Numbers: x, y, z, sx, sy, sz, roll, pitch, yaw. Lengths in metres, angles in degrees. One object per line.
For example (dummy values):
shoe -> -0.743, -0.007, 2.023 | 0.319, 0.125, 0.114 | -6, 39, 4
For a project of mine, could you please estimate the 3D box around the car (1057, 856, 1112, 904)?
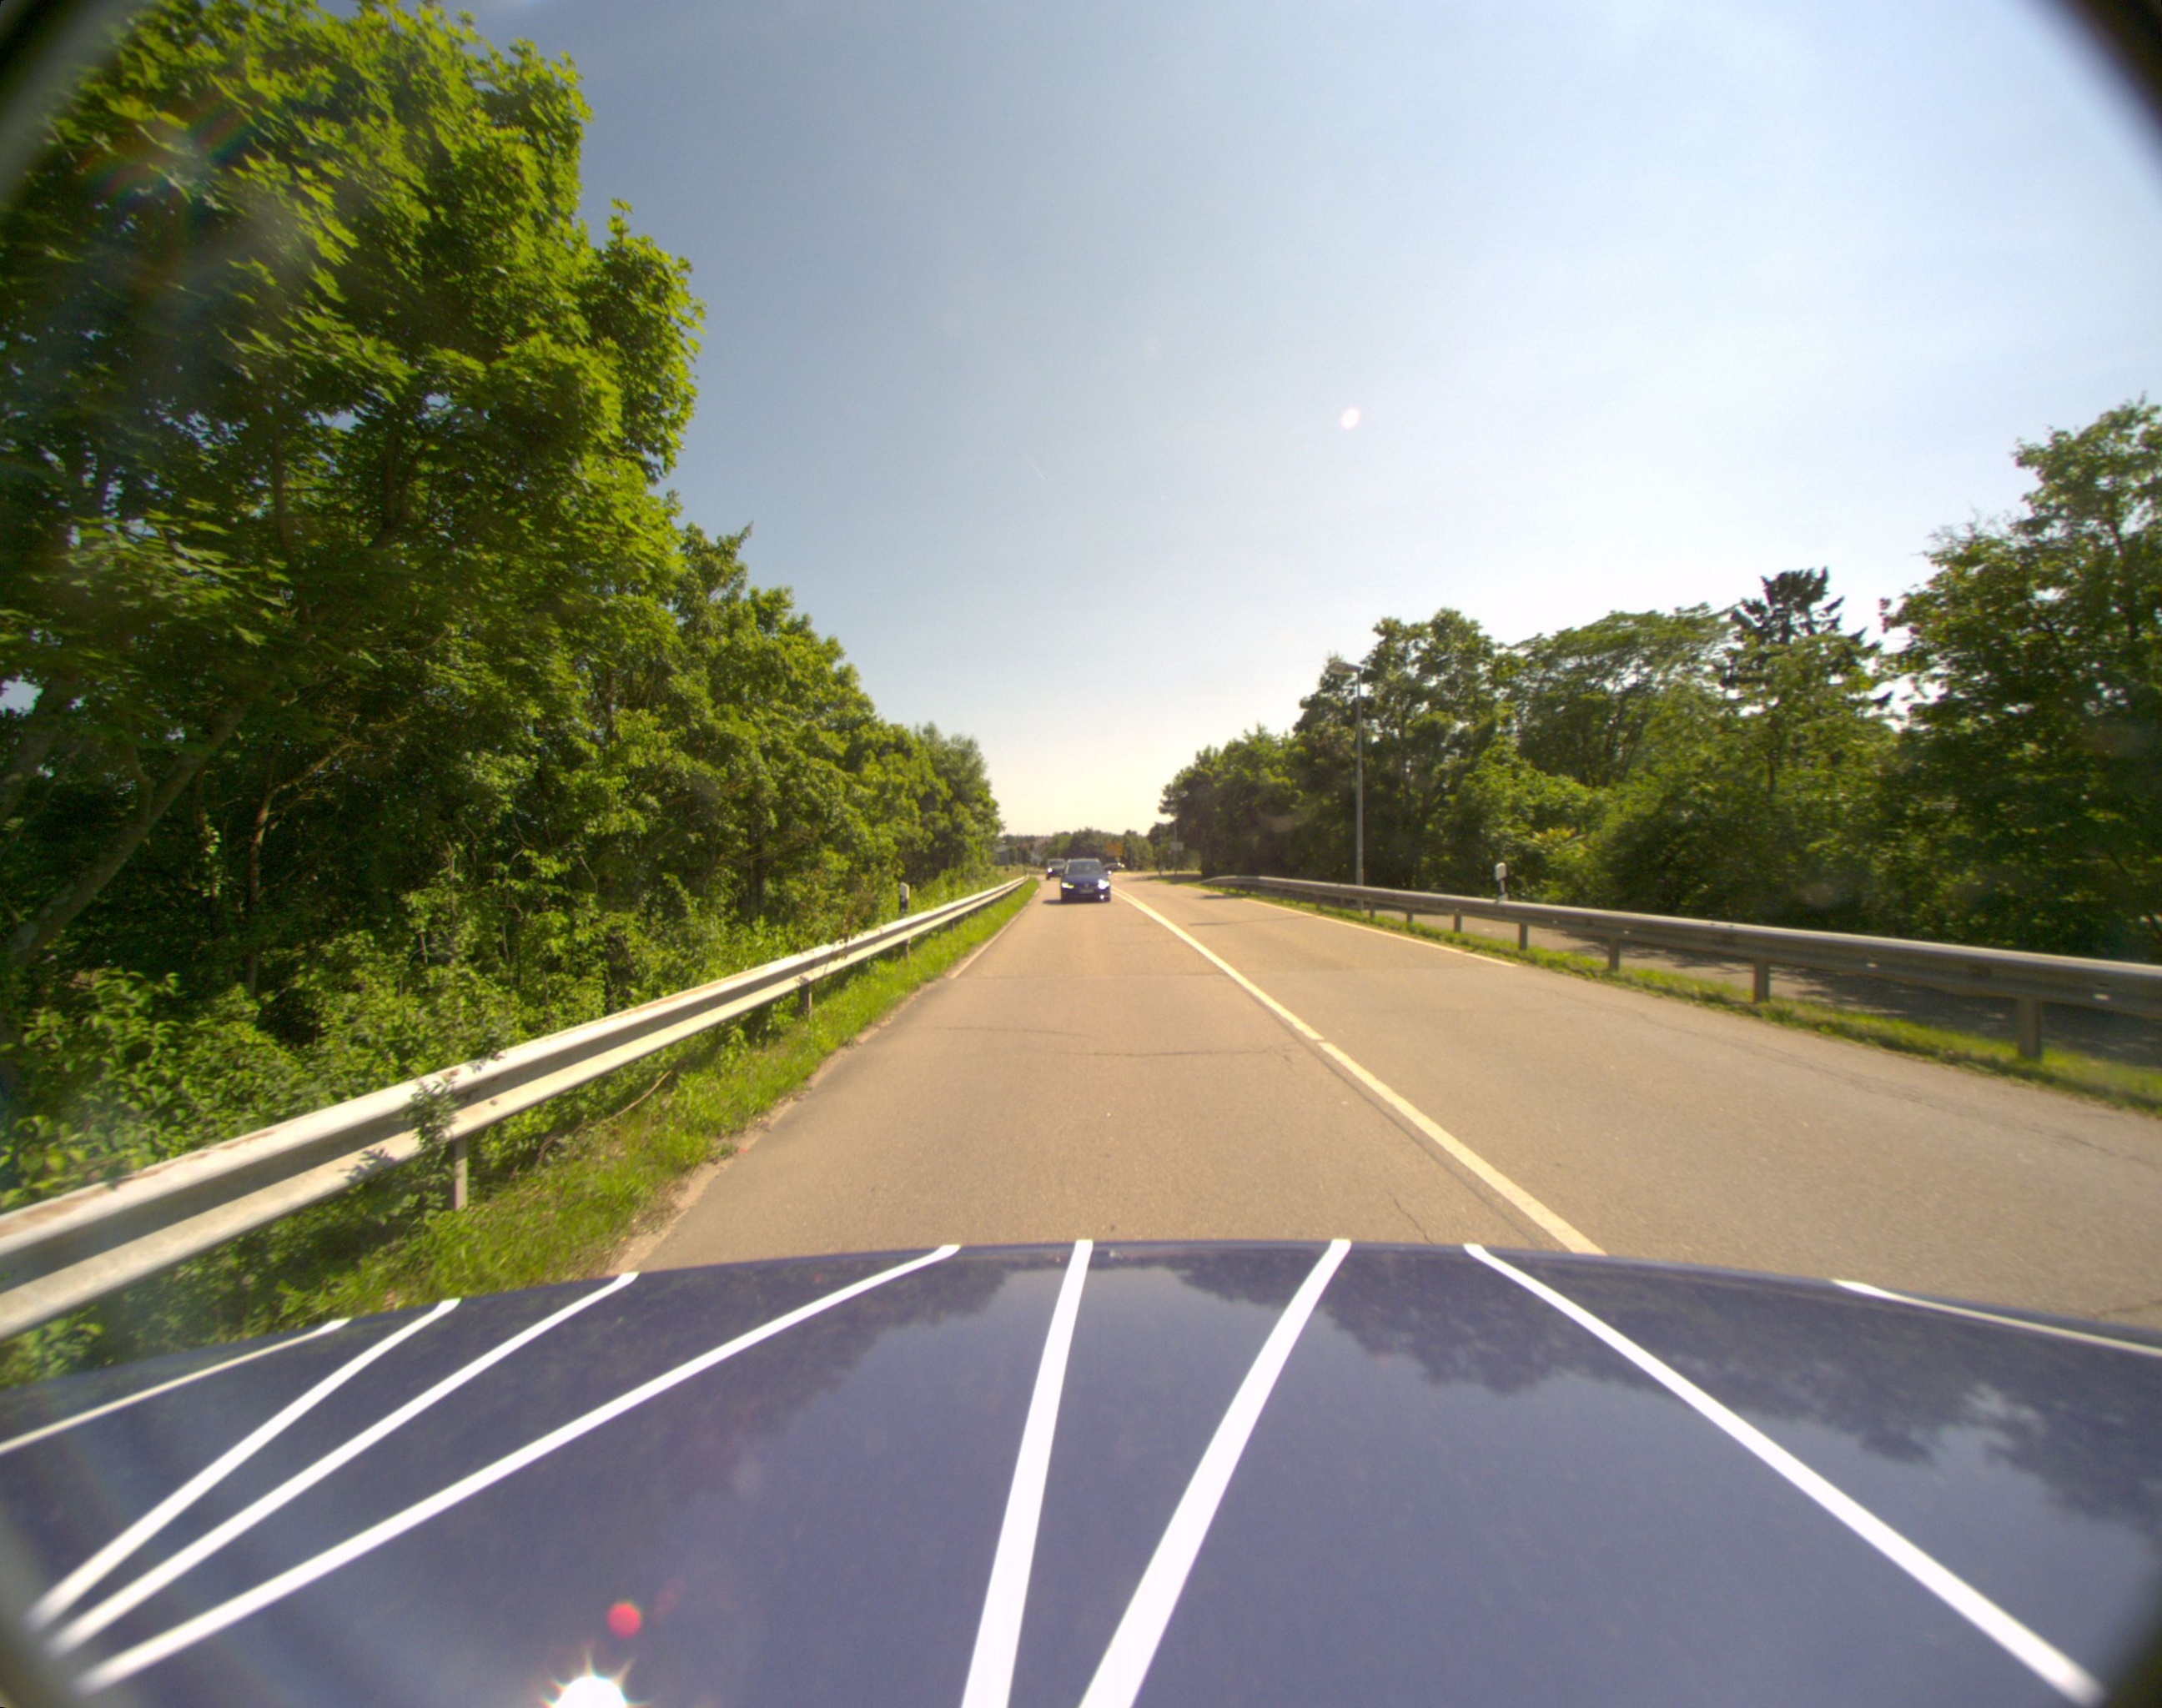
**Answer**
car -> 0.147, 0.898, 28.303 | 1.828, 1.591, 4.196 | -3, 0, 1

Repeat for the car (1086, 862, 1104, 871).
car -> 2.210, 2.011, 122.824 | 1.633, 1.396, 3.428 | -4, 0, -20

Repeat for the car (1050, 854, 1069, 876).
car -> -1.995, 1.046, 71.692 | 1.779, 2.006, 4.000 | 1, -1, -1
